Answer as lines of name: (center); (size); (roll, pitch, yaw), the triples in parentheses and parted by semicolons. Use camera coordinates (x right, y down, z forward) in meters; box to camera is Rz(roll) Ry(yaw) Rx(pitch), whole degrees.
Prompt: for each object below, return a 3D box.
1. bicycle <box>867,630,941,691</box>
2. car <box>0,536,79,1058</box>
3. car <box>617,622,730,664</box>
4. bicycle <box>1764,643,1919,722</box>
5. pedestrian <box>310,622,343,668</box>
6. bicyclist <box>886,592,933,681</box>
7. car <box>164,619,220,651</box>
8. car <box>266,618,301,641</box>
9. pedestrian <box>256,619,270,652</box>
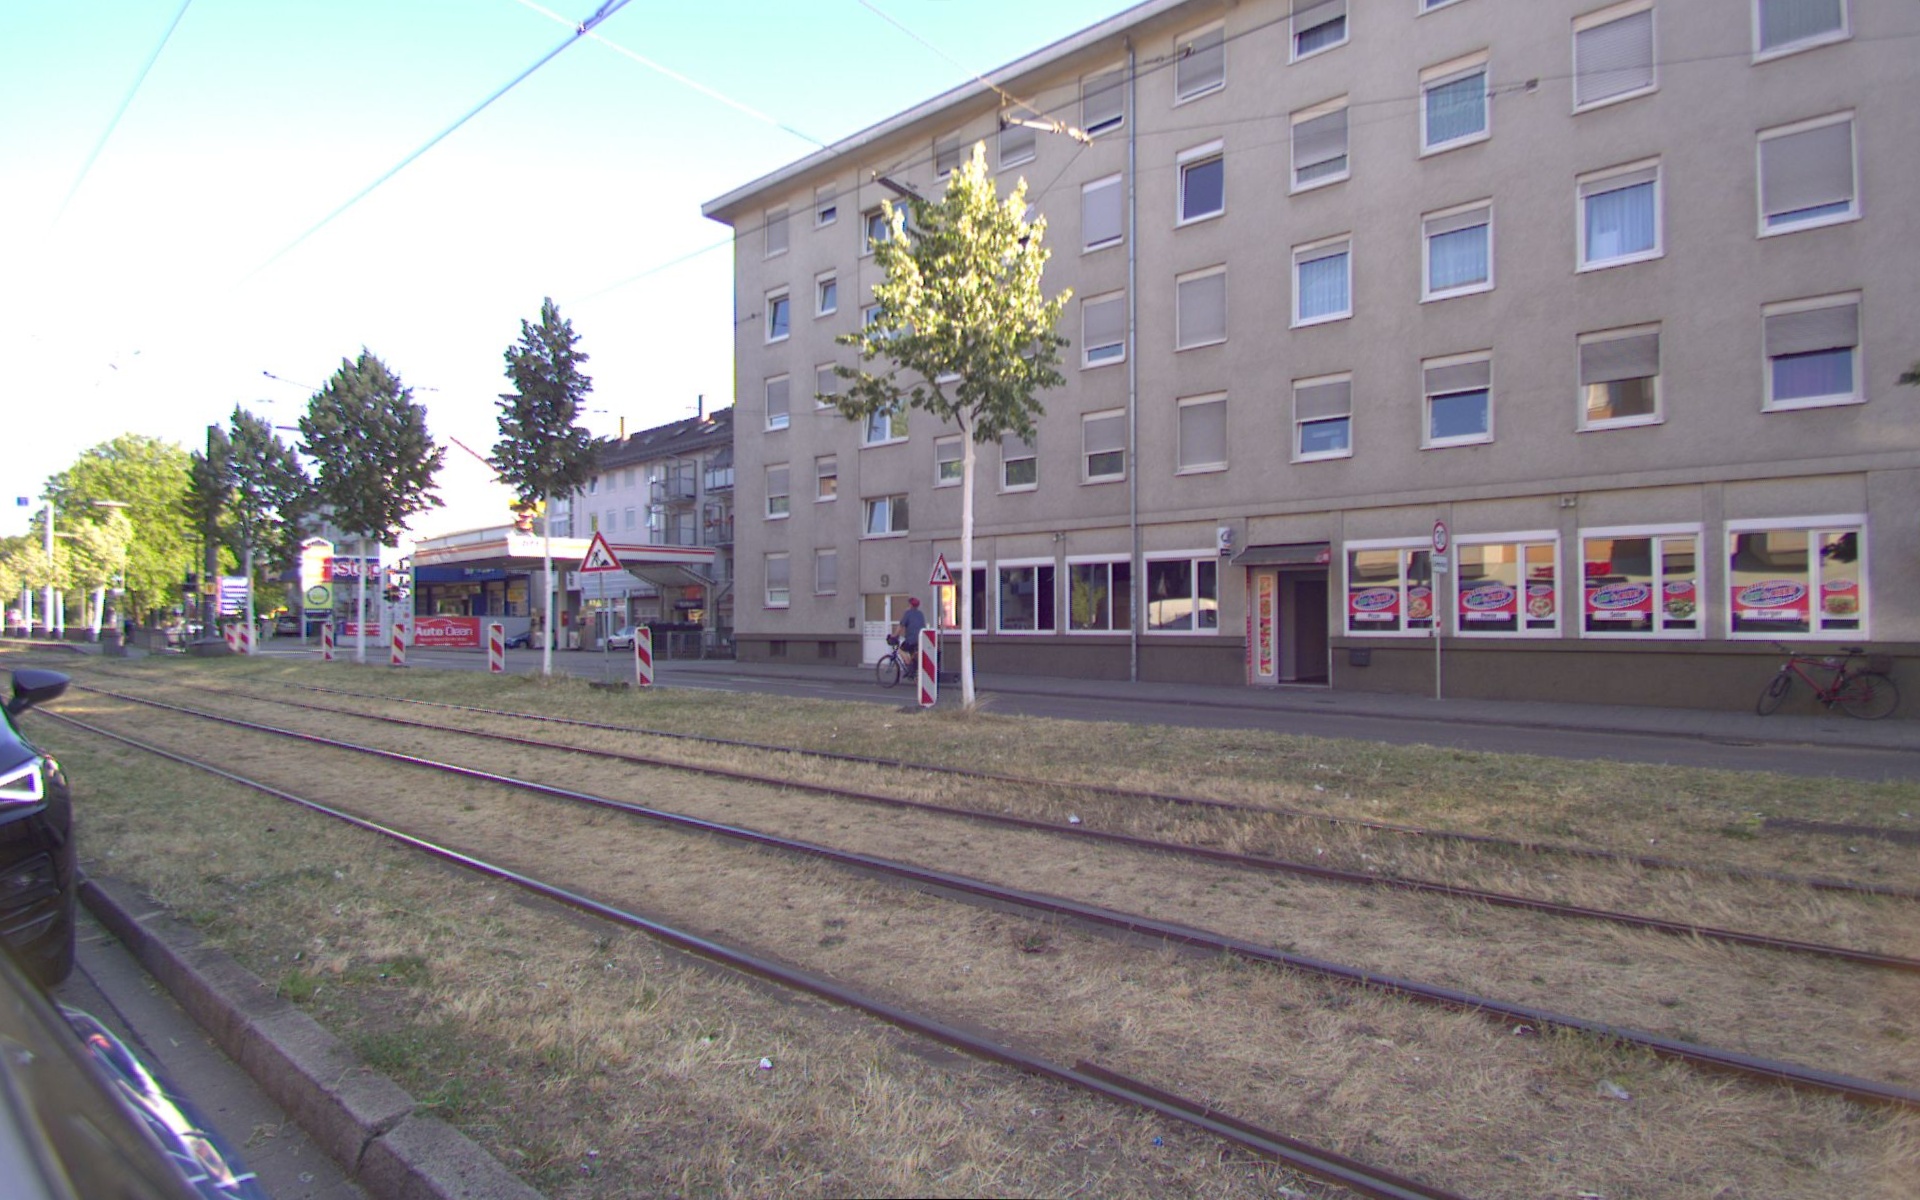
bicycle: (-1.238, 1.305, 22.094); (1.871, 1.267, 0.450); (-3, -2, 44)
car: (-5.059, 0.674, 4.088); (3.998, 1.690, 1.752); (-1, -1, 41)
car: (-10.752, 1.599, 38.099); (1.906, 1.481, 3.680); (-4, -4, 40)
bicycle: (12.831, 1.162, 14.651); (1.844, 1.031, 0.601); (-1, 0, 41)
pedestrian: (-18.293, 1.288, 29.215); (0.581, 1.280, 0.655); (-2, -1, 42)
bicyclist: (-1.104, 0.793, 21.993); (0.809, 1.897, 0.644); (-2, -3, 44)
car: (-44.032, 1.980, 57.999); (4.395, 1.748, 1.971); (-1, -1, 44)
car: (-50.002, 2.176, 74.785); (1.756, 1.567, 4.006); (-1, 0, -40)
pedestrian: (-42.814, 2.161, 62.163); (0.583, 2.029, 0.623); (-2, -2, 42)
